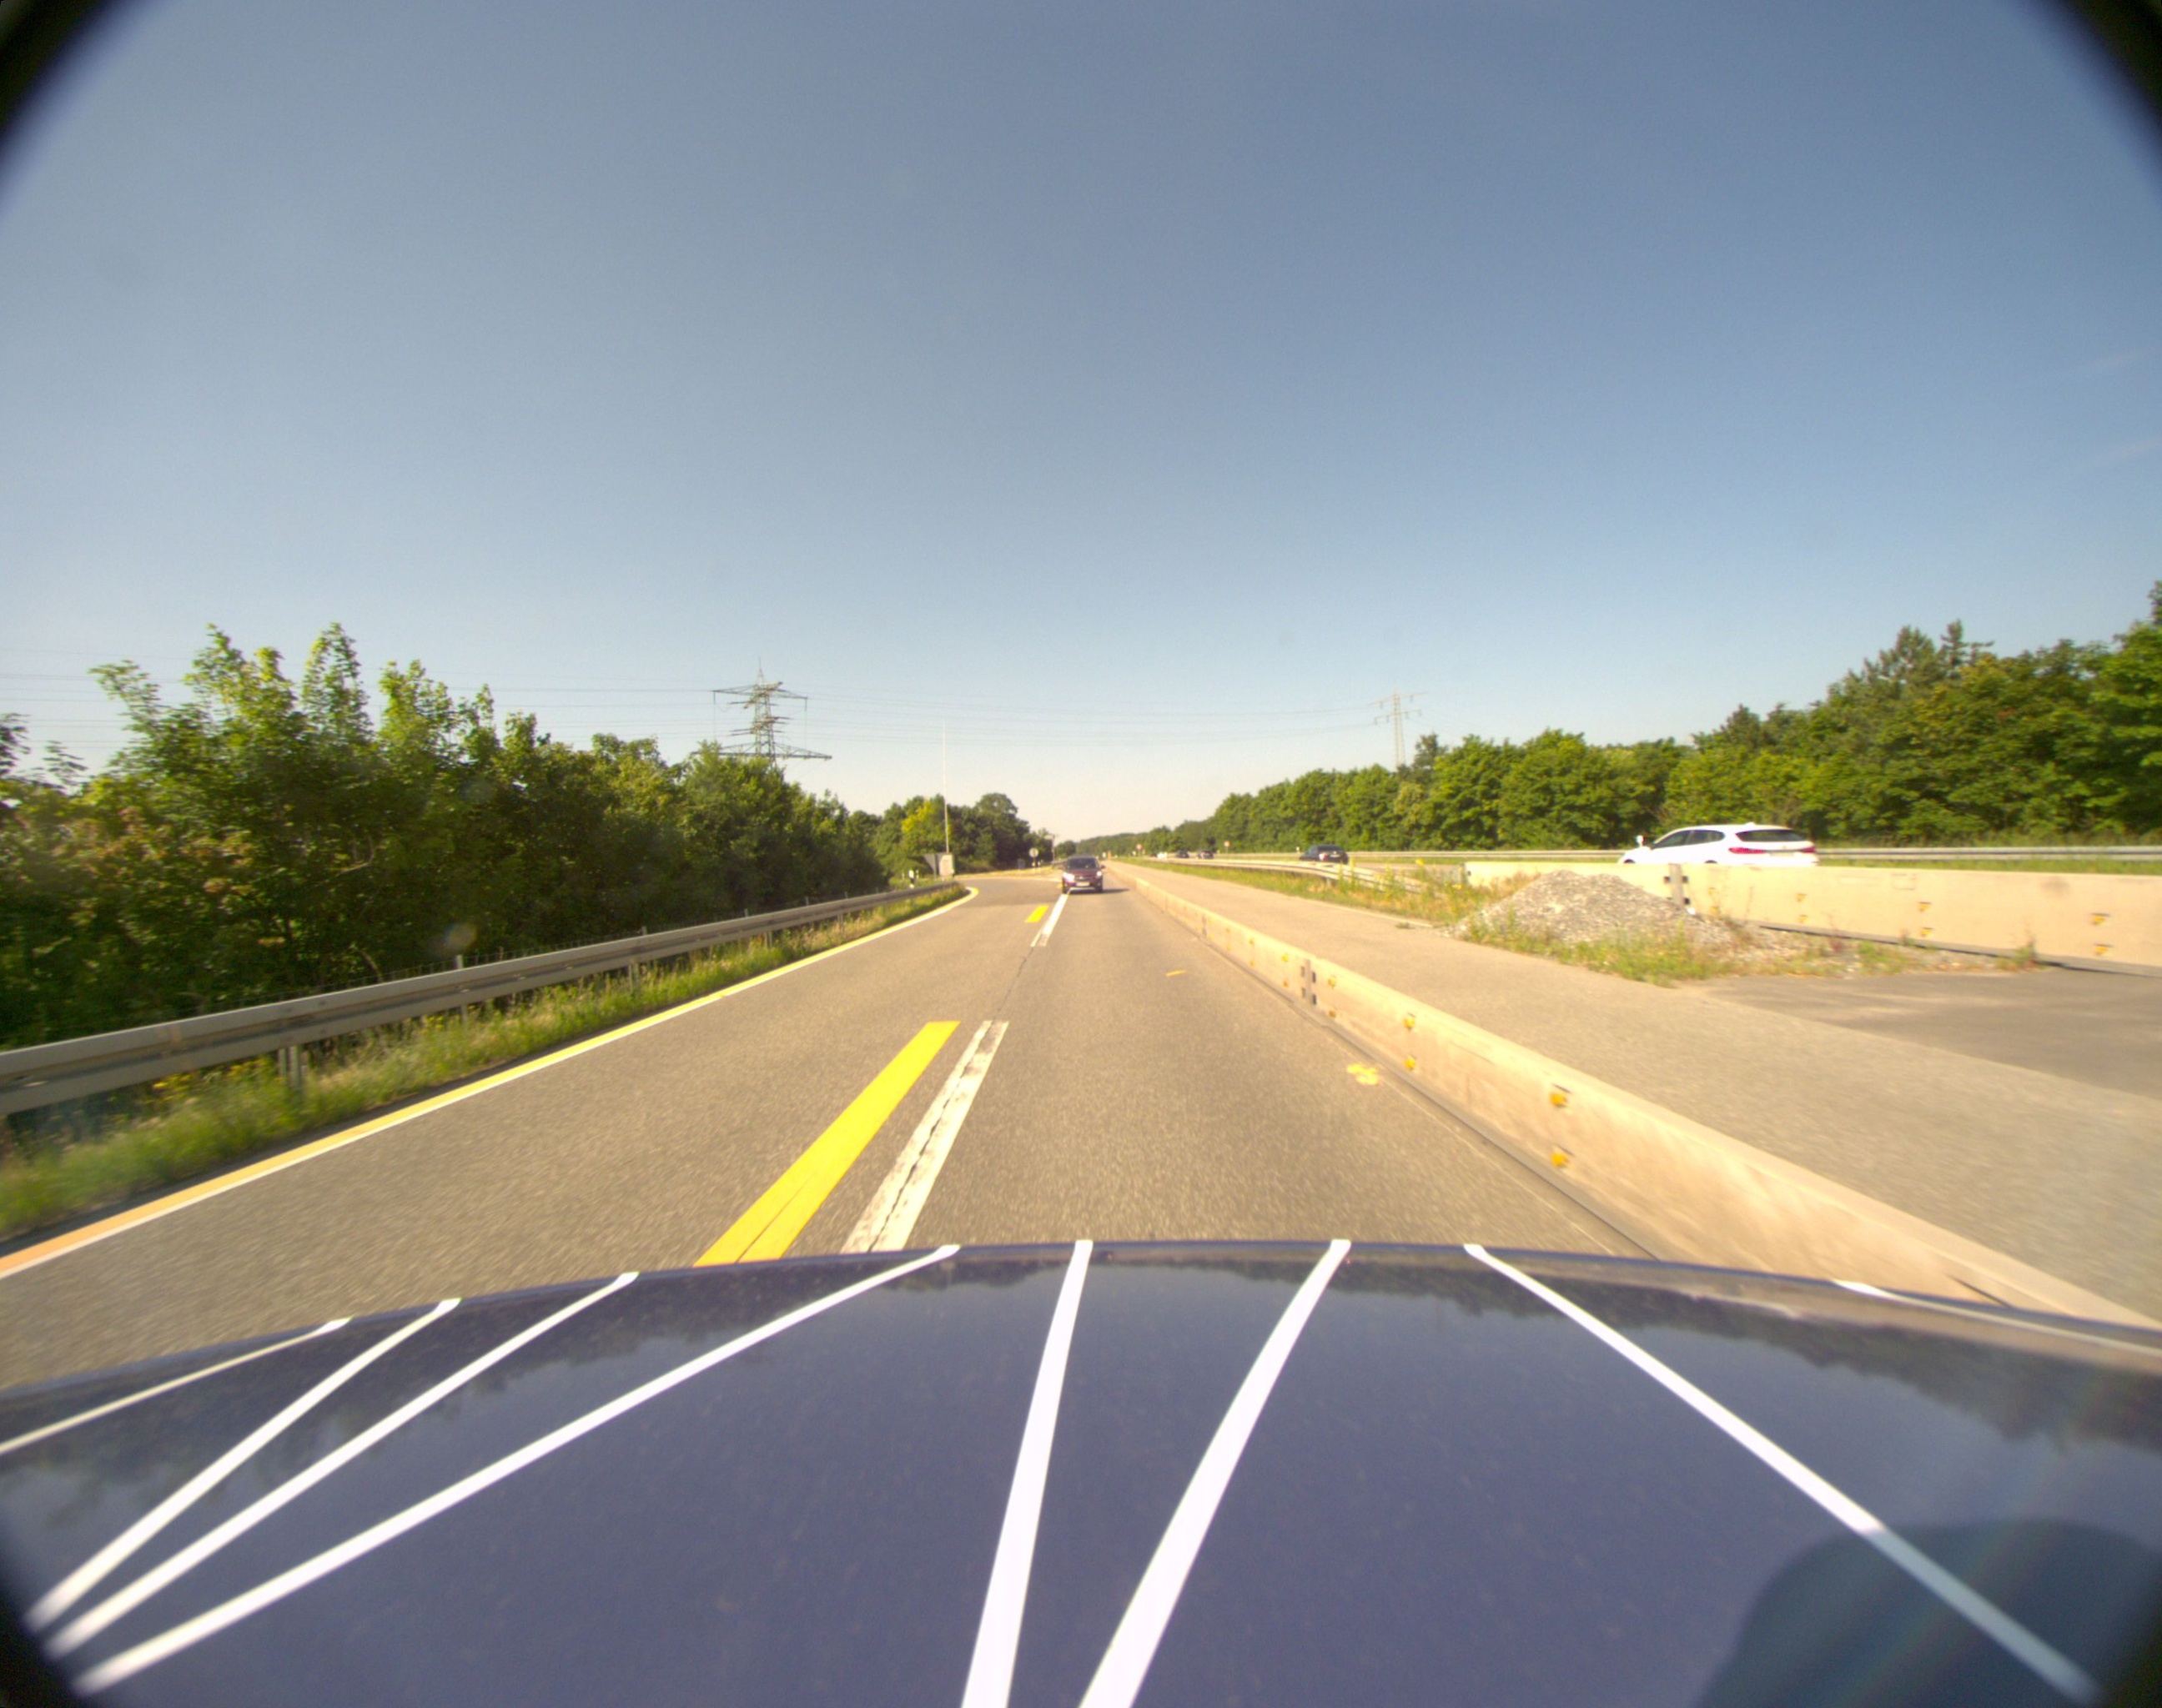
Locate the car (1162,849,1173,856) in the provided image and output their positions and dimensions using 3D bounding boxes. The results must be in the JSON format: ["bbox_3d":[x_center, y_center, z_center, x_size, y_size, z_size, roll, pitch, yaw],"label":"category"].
[{"bbox_3d":[17.779,-0.301,156.643,1.764,1.462,4.794,-4,0,0],"label":"car"}]

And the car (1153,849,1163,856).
[{"bbox_3d":[17.718,-0.359,175.279,1.743,1.485,4.109,-3,0,0],"label":"car"}]

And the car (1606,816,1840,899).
[{"bbox_3d":[14.570,0.065,17.654,1.821,1.598,4.440,-2,0,4],"label":"car"}]

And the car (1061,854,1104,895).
[{"bbox_3d":[0.120,0.794,31.426,1.587,1.491,4.416,-2,0,2],"label":"car"}]

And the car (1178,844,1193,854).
[{"bbox_3d":[16.535,-0.800,120.869,1.820,1.479,5.023,-1,0,2],"label":"car"}]

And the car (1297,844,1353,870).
[{"bbox_3d":[14.391,0.164,45.131,1.844,1.432,4.813,-2,0,2],"label":"car"}]

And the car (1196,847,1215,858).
[{"bbox_3d":[16.840,-0.191,102.846,1.801,1.426,4.592,-3,0,1],"label":"car"}]
